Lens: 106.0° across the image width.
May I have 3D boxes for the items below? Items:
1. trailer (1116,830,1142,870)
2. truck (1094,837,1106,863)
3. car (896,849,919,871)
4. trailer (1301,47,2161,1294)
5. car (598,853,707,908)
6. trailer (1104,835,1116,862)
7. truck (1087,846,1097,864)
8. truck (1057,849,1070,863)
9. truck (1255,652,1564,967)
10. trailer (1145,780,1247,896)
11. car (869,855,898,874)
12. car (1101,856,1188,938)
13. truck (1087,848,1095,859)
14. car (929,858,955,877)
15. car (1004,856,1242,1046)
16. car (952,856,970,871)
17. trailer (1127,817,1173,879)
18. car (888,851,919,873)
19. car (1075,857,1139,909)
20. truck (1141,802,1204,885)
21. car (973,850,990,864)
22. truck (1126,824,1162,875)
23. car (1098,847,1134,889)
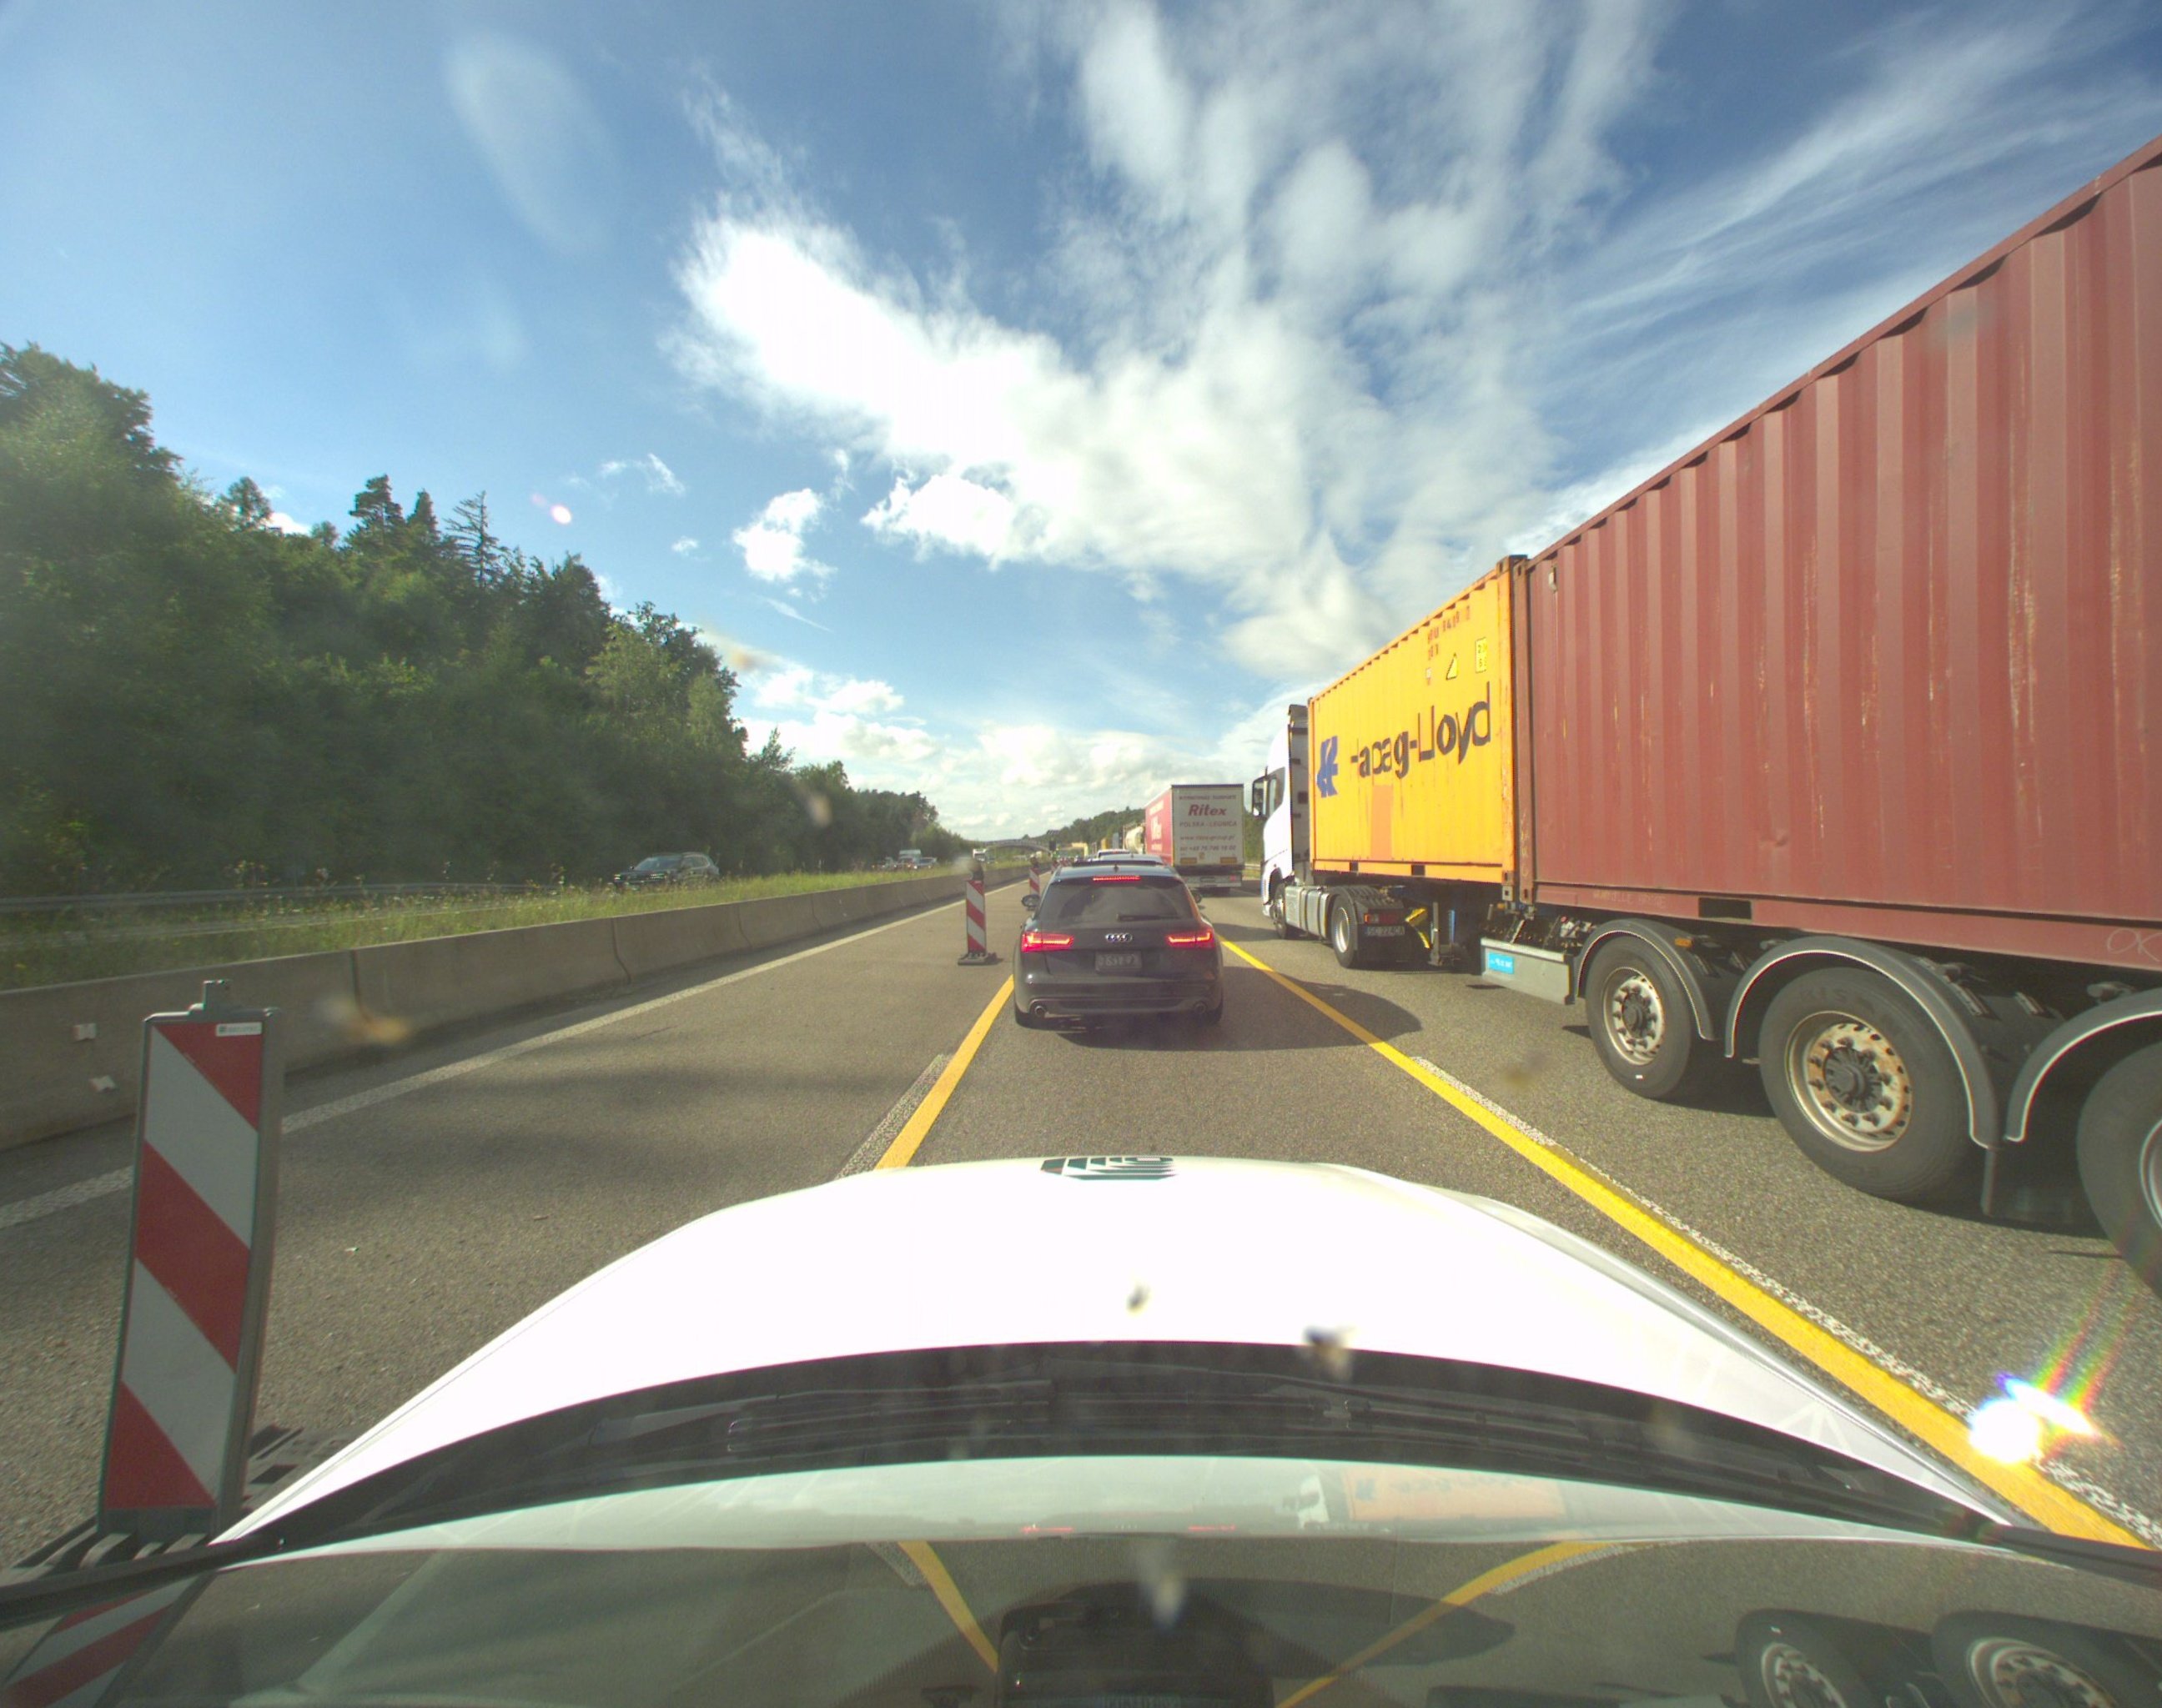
[{"bbox_3d":[5.529,-0.414,95.770,2.795,4.413,10.436,0,-1,2],"label":"trailer"},{"bbox_3d":[3.614,-0.737,156.529,1.987,4.914,9.561,0,0,0],"label":"truck"},{"bbox_3d":[-20.867,0.722,98.121,2.247,2.643,5.009,0,-1,-6],"label":"car"},{"bbox_3d":[4.561,-0.557,6.321,2.463,3.774,12.136,-2,0,1],"label":"trailer"},{"bbox_3d":[-14.260,0.846,27.316,1.709,1.706,3.524,0,-1,2],"label":"car"},{"bbox_3d":[4.318,-0.812,122.924,1.611,3.918,6.490,0,-1,1],"label":"trailer"},{"bbox_3d":[2.569,0.275,192.250,2.130,4.257,7.073,0,-1,1],"label":"truck"},{"bbox_3d":[-5.573,0.620,259.311,3.299,4.175,9.683,-3,-1,-5],"label":"truck"},{"bbox_3d":[4.632,-0.535,12.852,2.486,3.780,5.789,-2,0,0],"label":"truck"},{"bbox_3d":[4.519,-0.542,34.935,2.690,3.969,13.420,-1,0,1],"label":"trailer"},{"bbox_3d":[-21.373,1.152,88.261,1.986,2.014,4.001,0,-1,2],"label":"car"},{"bbox_3d":[1.170,0.776,15.975,1.518,1.439,3.286,0,-1,2],"label":"car"},{"bbox_3d":[3.089,-0.017,259.104,2.558,3.466,7.398,0,-1,0],"label":"truck"},{"bbox_3d":[-13.708,1.294,80.504,1.792,1.849,3.812,0,-1,2],"label":"car"},{"bbox_3d":[0.393,0.780,8.386,1.842,1.463,4.001,-1,-1,2],"label":"car"},{"bbox_3d":[-13.415,1.082,91.153,1.477,1.653,3.235,0,-1,2],"label":"car"},{"bbox_3d":[4.805,-0.368,58.928,2.634,3.943,12.602,0,0,2],"label":"trailer"},{"bbox_3d":[-16.777,0.773,77.140,1.986,2.013,4.002,-1,0,2],"label":"car"},{"bbox_3d":[0.777,0.811,24.051,1.745,1.397,3.609,0,-1,2],"label":"car"},{"bbox_3d":[4.611,-0.516,41.822,2.658,3.959,5.711,-1,0,1],"label":"truck"},{"bbox_3d":[-16.831,0.499,137.818,1.986,2.277,5.132,0,-1,2],"label":"car"},{"bbox_3d":[5.041,-0.303,65.965,2.649,3.972,5.780,0,-1,2],"label":"truck"},{"bbox_3d":[1.596,0.623,37.519,1.575,1.837,3.113,0,-1,2],"label":"car"}]
